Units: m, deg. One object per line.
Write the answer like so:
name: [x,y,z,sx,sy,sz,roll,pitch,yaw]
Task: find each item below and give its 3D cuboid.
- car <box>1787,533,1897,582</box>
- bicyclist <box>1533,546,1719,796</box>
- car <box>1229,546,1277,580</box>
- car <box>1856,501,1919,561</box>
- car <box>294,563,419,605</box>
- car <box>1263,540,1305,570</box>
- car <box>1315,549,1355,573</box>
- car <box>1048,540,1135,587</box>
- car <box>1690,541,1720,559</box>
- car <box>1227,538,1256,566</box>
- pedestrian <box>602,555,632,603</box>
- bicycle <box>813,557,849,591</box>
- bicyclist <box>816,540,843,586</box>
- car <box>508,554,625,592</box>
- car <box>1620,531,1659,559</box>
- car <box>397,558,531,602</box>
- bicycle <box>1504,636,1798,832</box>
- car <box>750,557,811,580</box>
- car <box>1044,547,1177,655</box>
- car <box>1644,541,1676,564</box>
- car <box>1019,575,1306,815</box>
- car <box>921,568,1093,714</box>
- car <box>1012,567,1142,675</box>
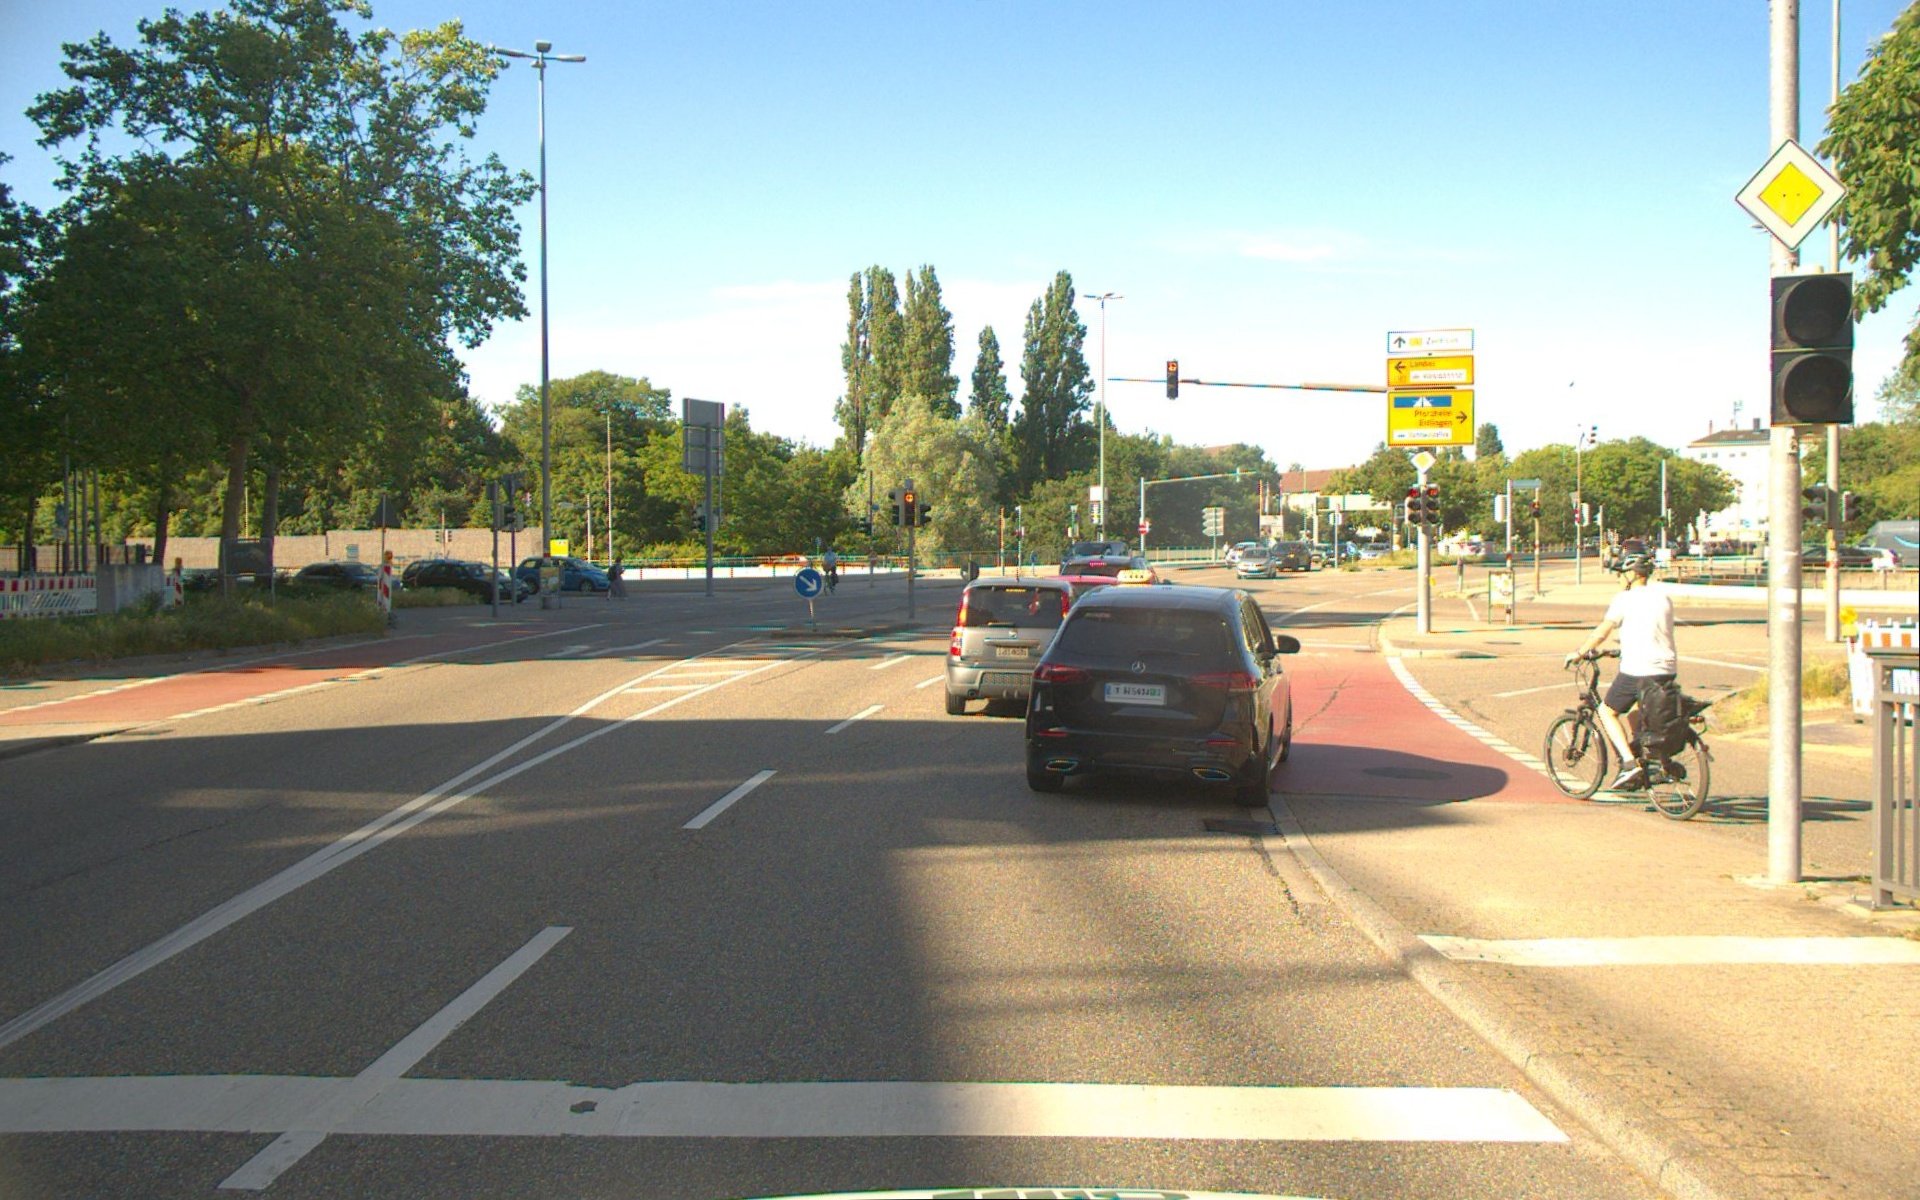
car: [38.755,-1.823,72.714,3.931,2.049,1.987,0,-1,43]
bicyclist: [4.826,0.487,12.046,0.784,1.734,1.083,1,1,-8]
car: [14.468,-1.839,81.434,1.782,1.610,4.106,0,2,18]
car: [44.872,-3.205,77.257,2.233,2.653,4.830,1,-1,-33]
car: [-22.135,-0.583,60.667,4.350,1.463,1.824,0,2,27]
car: [18.165,-2.524,92.574,1.687,1.610,4.005,0,2,20]
car: [23.778,-2.503,104.832,1.952,1.478,4.001,0,2,21]
car: [5.797,-1.631,72.283,1.956,1.969,4.844,0,2,29]
car: [68.541,-4.614,152.124,1.958,1.668,3.989,0,2,33]
car: [18.000,-3.069,105.634,1.794,1.682,4.633,-1,2,10]
pedestrian: [-12.109,-0.736,58.360,0.672,1.565,1.366,1,-4,2]
bicycle: [-4.954,-0.998,63.612,0.672,1.223,2.330,0,3,14]
bicyclist: [-4.989,-1.428,63.470,0.672,1.730,1.199,0,3,14]
car: [-15.873,-1.079,66.698,4.346,1.463,1.826,0,2,23]
car: [48.554,-3.912,118.134,1.958,1.825,3.989,0,-1,32]
car: [-17.063,-0.687,56.826,4.350,1.463,1.824,0,2,27]
bicycle: [4.861,0.890,11.880,0.785,1.130,2.397,0,2,-9]
car: [-12.664,-2.233,116.879,3.902,1.575,2.002,0,2,6]
car: [2.902,-0.062,31.029,1.829,1.821,4.418,2,2,13]
car: [57.386,-3.912,135.482,1.956,1.825,3.993,0,2,30]
car: [1.764,0.605,13.216,1.714,1.519,4.004,1,2,15]
car: [0.665,0.405,19.773,1.781,1.515,4.003,-1,1,5]
car: [1.887,0.251,25.607,1.781,1.505,4.004,1,1,7]
